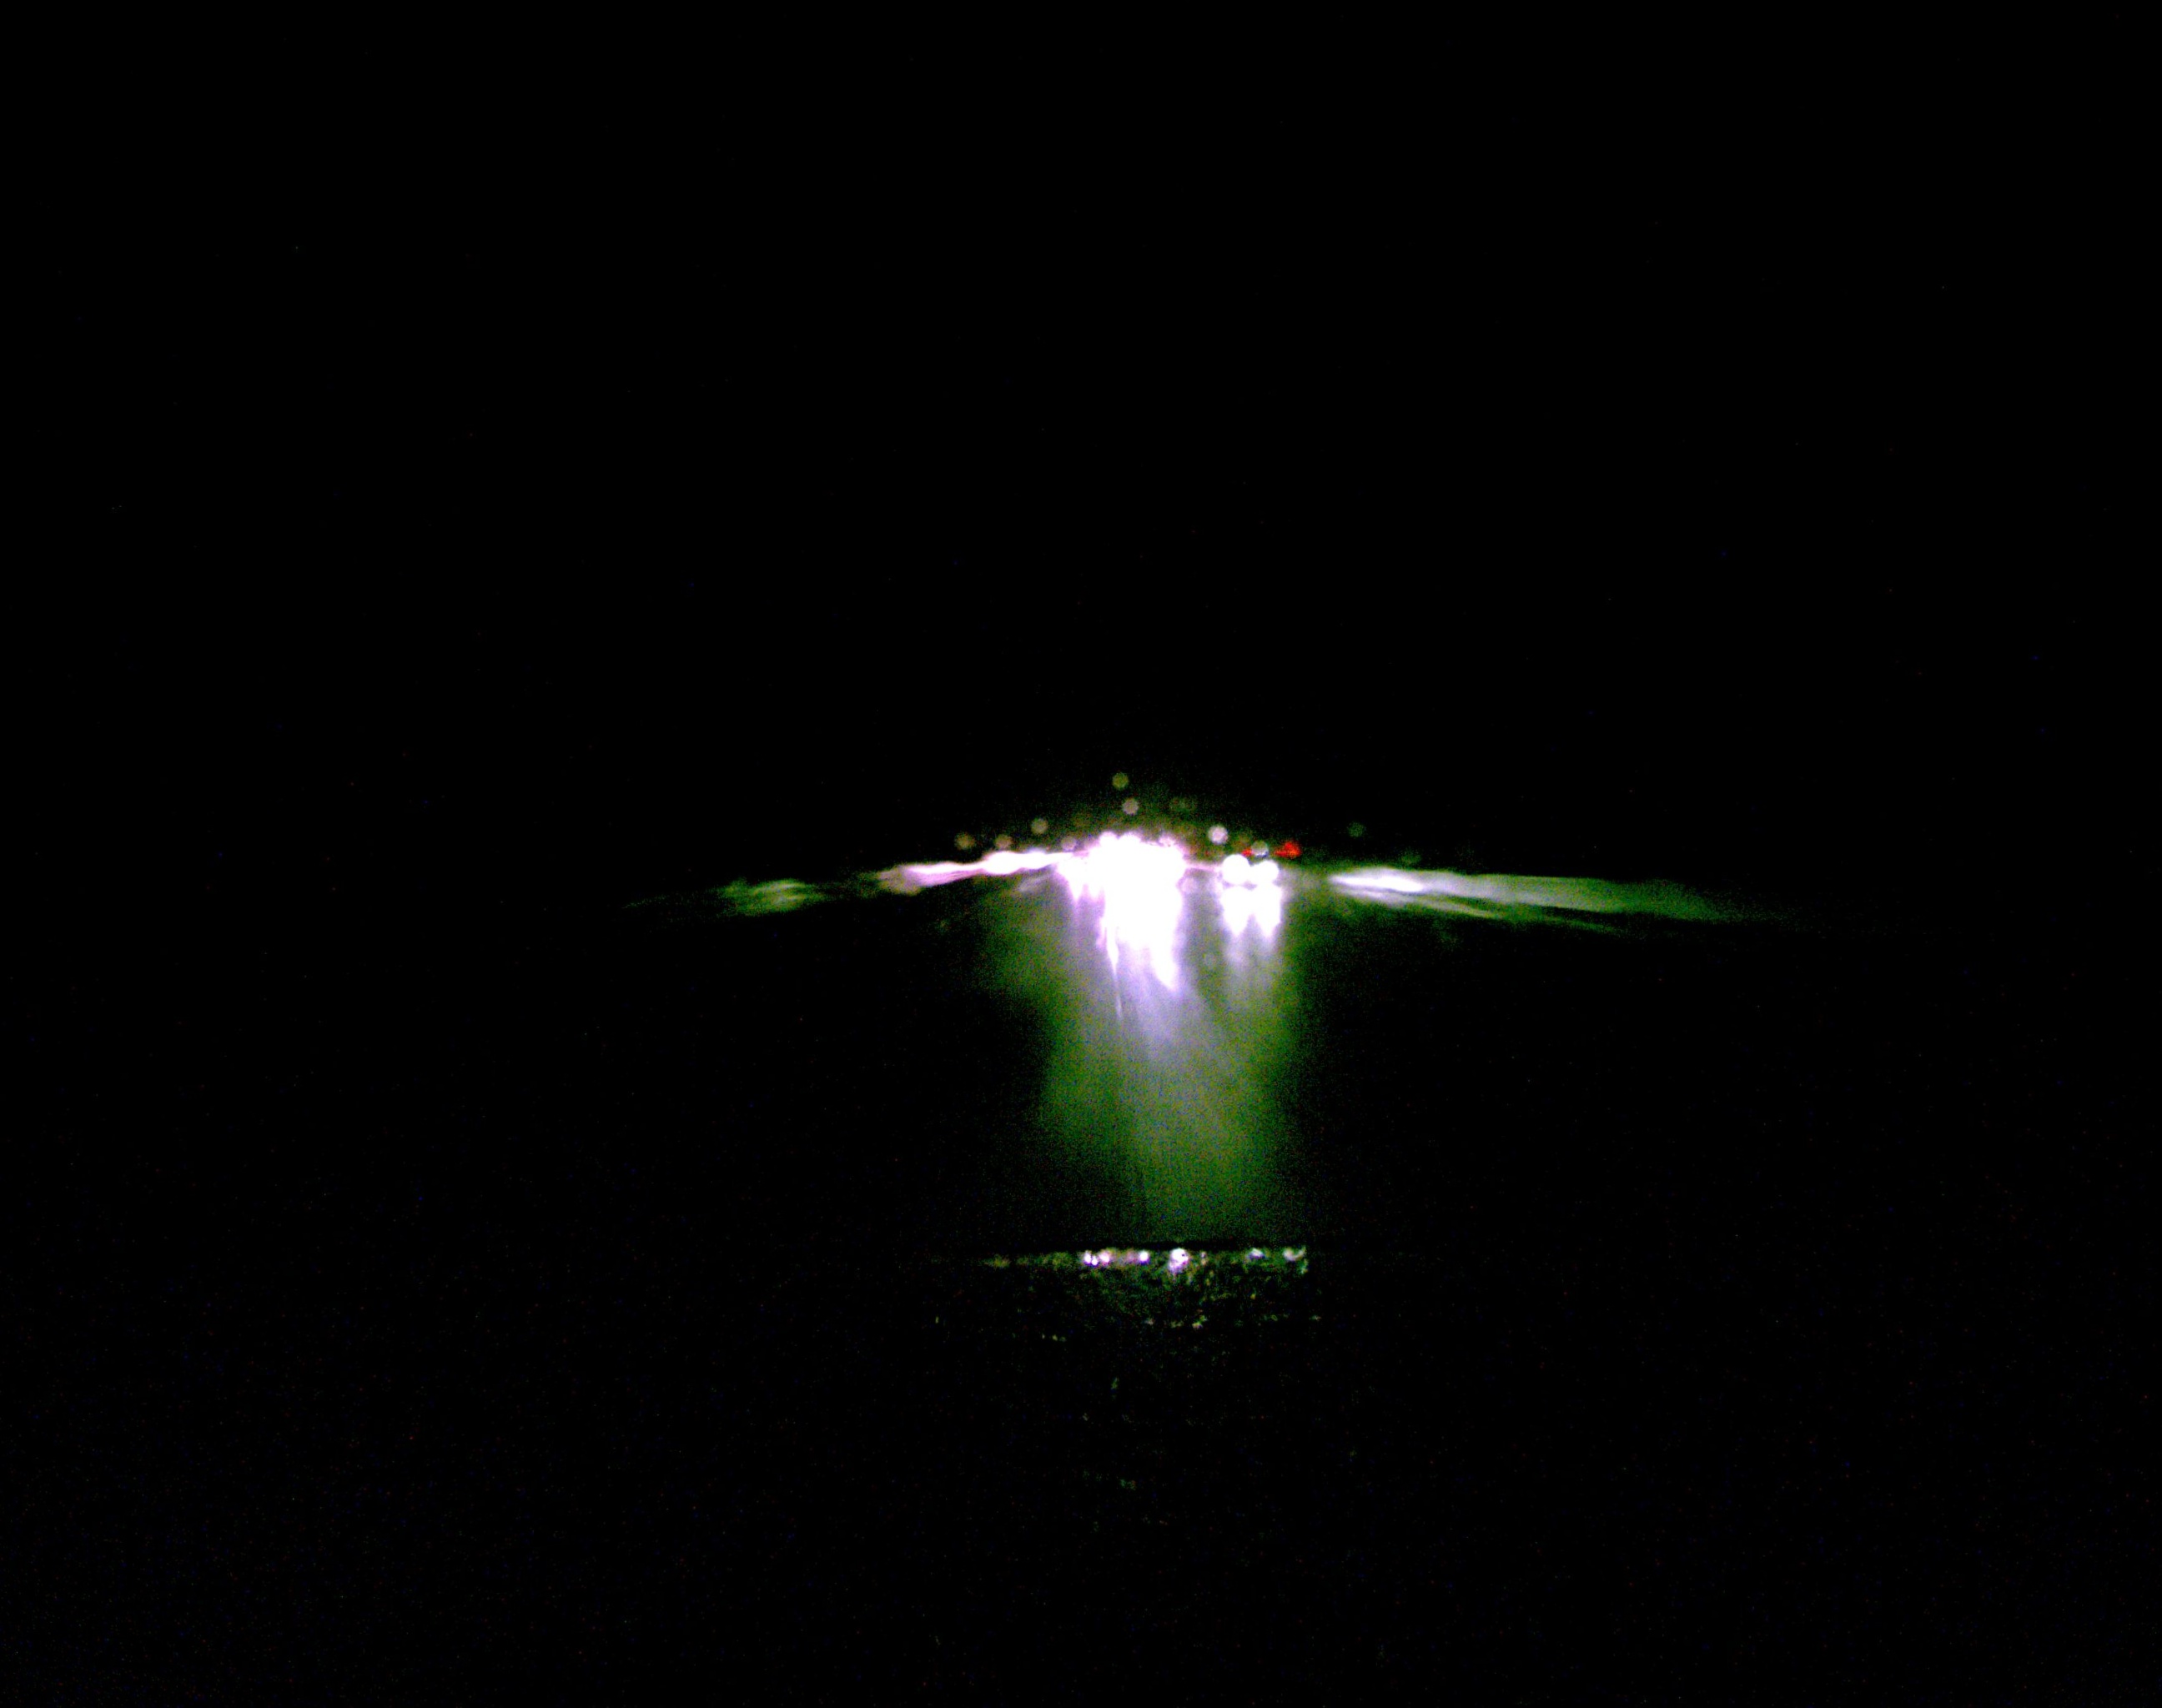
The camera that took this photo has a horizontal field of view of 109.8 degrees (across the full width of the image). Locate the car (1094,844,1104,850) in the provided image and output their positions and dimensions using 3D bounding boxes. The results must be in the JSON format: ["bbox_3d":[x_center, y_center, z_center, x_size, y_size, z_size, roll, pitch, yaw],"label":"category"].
[{"bbox_3d":[3.910,-1.548,163.415,1.998,1.149,4.000,-1,1,3],"label":"car"}]

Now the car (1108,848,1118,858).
[{"bbox_3d":[6.247,-0.228,147.800,1.998,1.745,4.000,-2,1,3],"label":"car"}]

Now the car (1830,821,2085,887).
[{"bbox_3d":[18.924,-0.027,16.656,1.645,1.281,3.409,-1,1,-1],"label":"car"}]

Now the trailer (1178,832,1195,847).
[{"bbox_3d":[37.026,-5.016,266.582,4.350,5.111,8.995,-5,1,1],"label":"trailer"}]

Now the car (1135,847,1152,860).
[{"bbox_3d":[8.586,-0.072,104.966,1.998,1.745,3.999,-2,1,1],"label":"car"}]

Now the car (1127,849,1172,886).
[{"bbox_3d":[3.359,0.610,36.853,1.997,1.667,4.001,-1,1,6],"label":"car"}]

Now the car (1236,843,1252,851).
[{"bbox_3d":[31.062,-1.305,144.969,1.791,1.456,5.038,-3,1,0],"label":"car"}]

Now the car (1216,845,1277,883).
[{"bbox_3d":[7.559,0.422,35.030,2.309,1.600,3.872,-1,1,6],"label":"car"}]

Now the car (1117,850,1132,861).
[{"bbox_3d":[4.920,0.206,86.105,1.693,1.149,3.420,-1,1,3],"label":"car"}]

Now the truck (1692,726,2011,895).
[{"bbox_3d":[23.690,-1.240,23.990,4.177,4.598,5.846,-1,1,2],"label":"truck"}]

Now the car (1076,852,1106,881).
[{"bbox_3d":[0.770,0.926,57.658,1.998,2.002,4.000,-1,1,4],"label":"car"}]

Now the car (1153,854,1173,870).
[{"bbox_3d":[9.124,0.879,84.882,1.998,1.667,4.000,-1,1,3],"label":"car"}]

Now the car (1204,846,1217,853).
[{"bbox_3d":[28.107,-1.037,165.125,1.965,1.456,3.999,-3,1,0],"label":"car"}]

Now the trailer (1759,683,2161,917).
[{"bbox_3d":[23.383,-1.126,17.100,4.177,4.597,13.957,-1,1,2],"label":"trailer"}]
